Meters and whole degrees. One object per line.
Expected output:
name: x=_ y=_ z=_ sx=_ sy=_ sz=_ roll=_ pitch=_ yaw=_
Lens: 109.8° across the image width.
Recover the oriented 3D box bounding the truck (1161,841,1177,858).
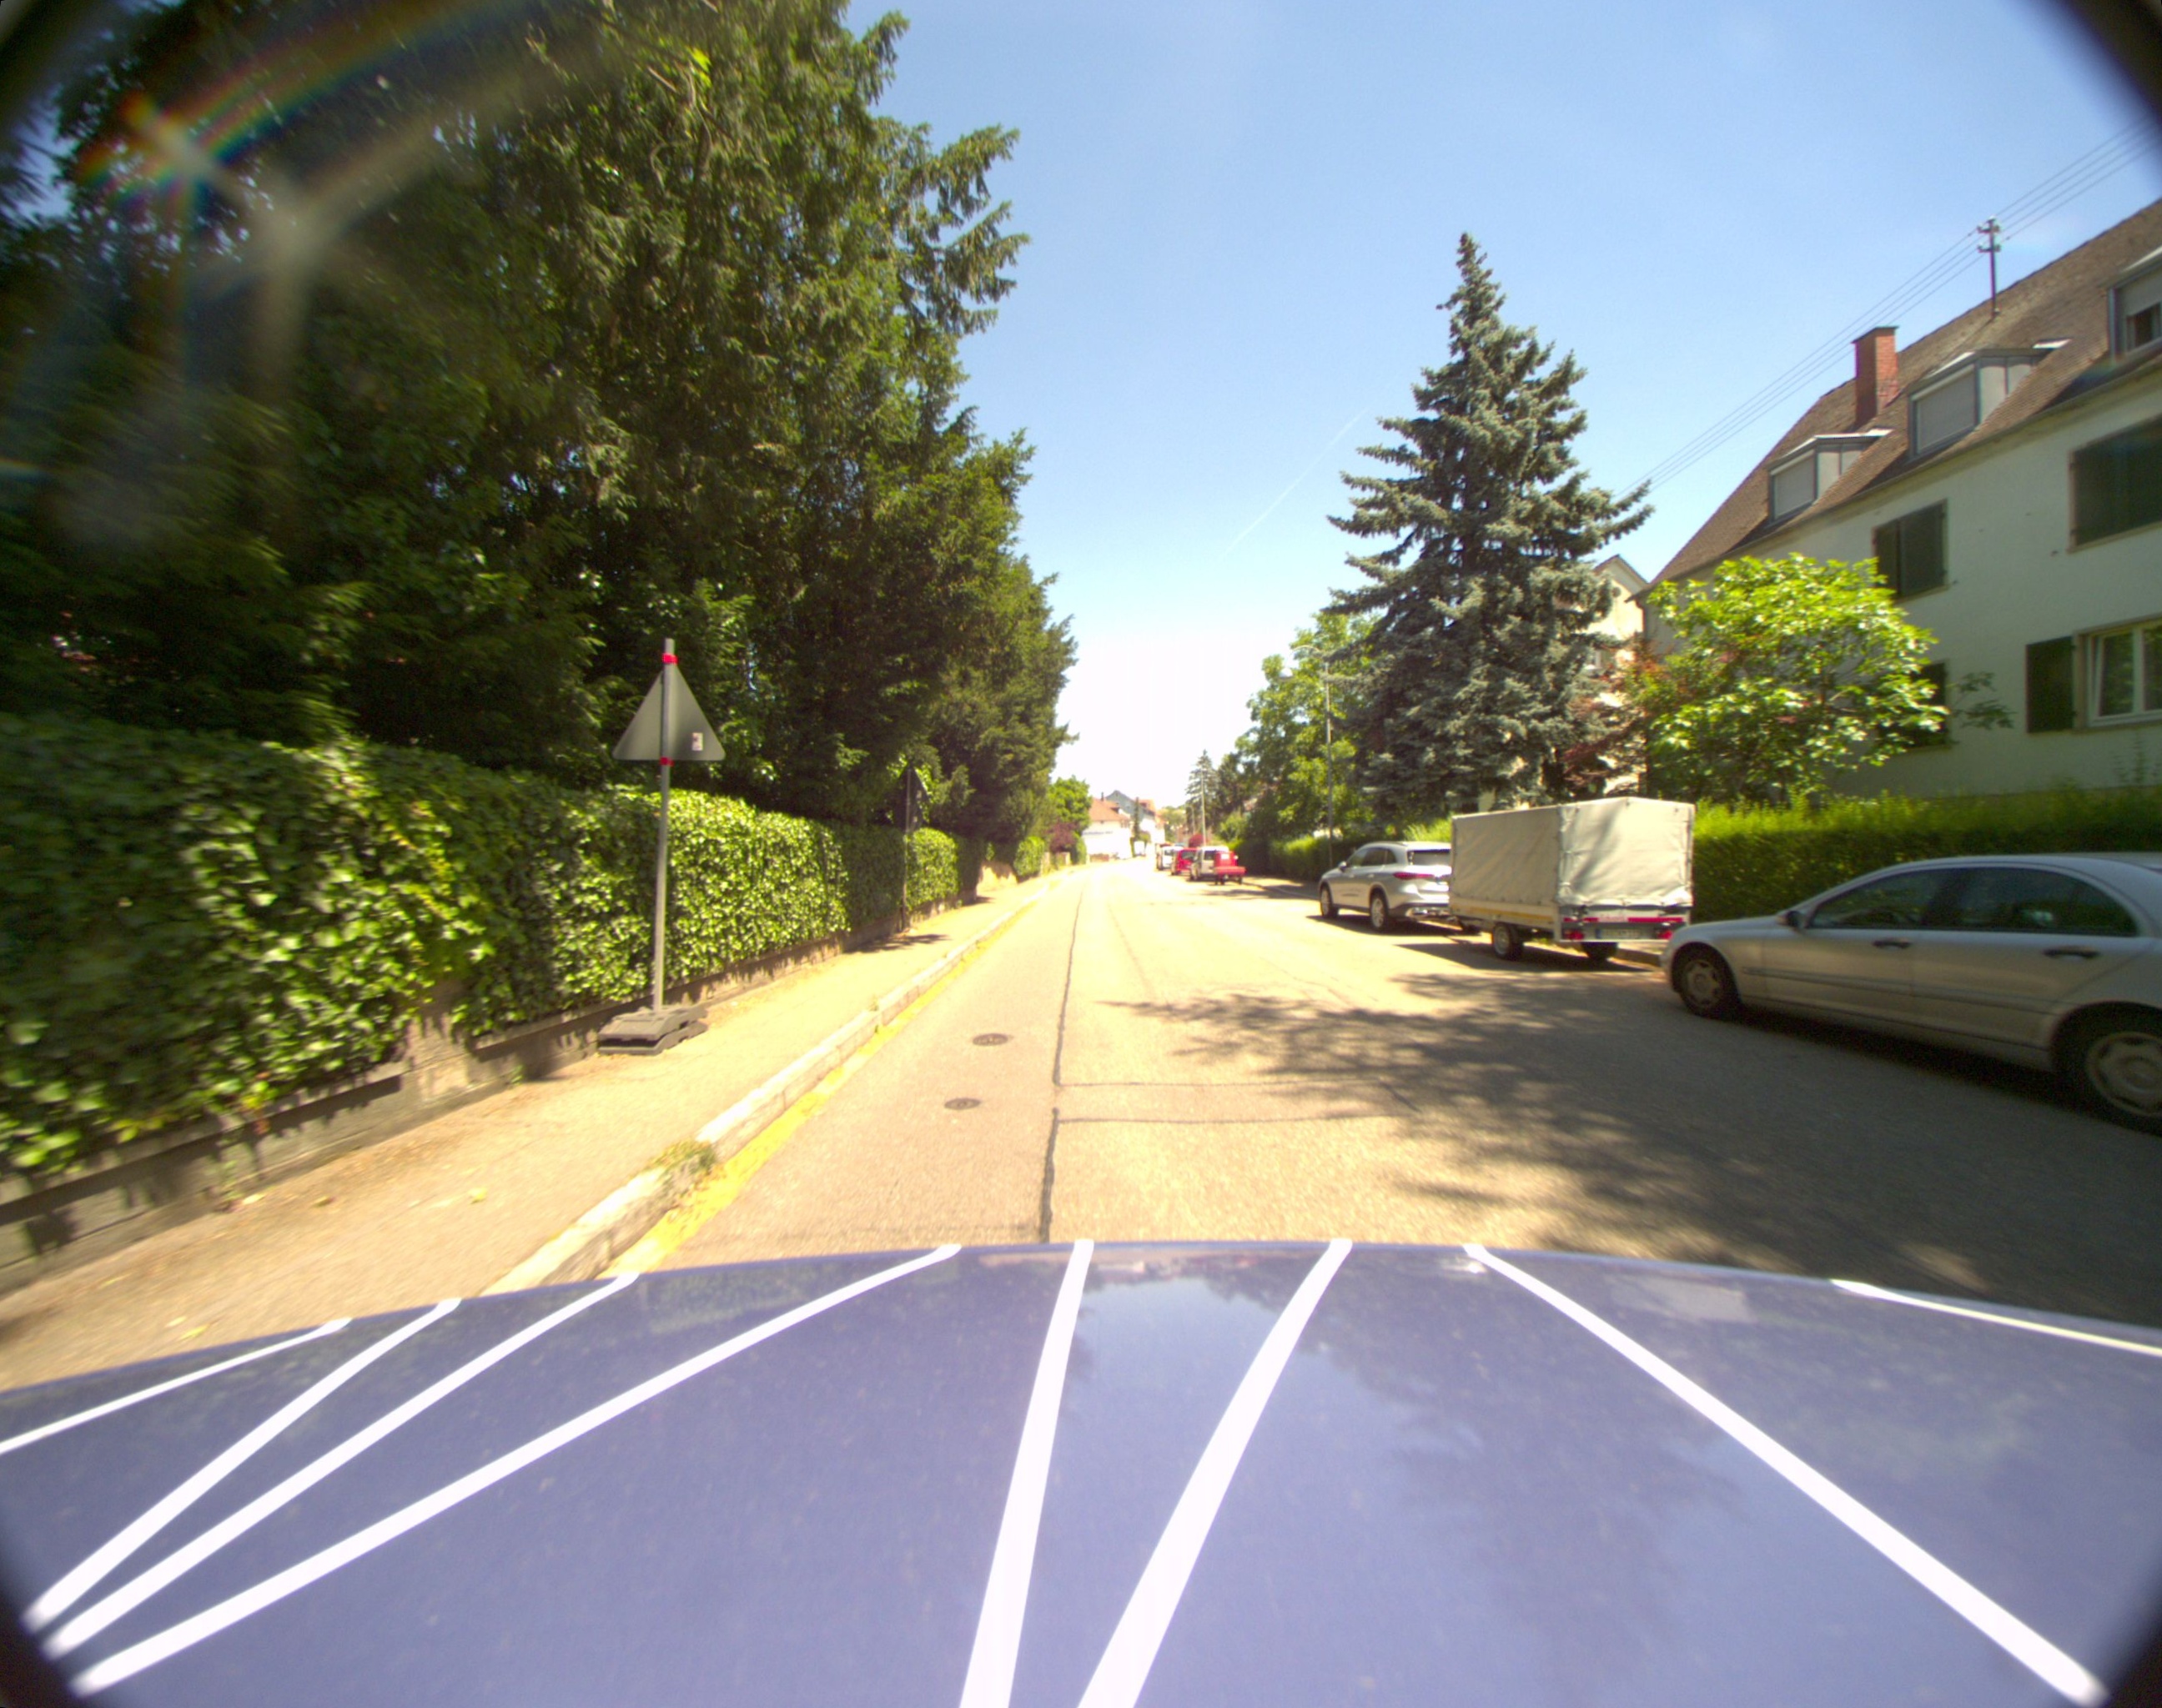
truck: x=15.751 y=-0.859 z=135.419 sx=2.225 sy=2.915 sz=6.729 roll=1 pitch=1 yaw=11

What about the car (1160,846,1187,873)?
car: x=7.566 y=0.411 z=62.489 sx=1.893 sy=2.103 sz=3.999 roll=1 pitch=1 yaw=2

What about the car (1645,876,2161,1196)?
car: x=6.132 y=0.932 z=4.817 sx=1.801 sy=1.434 sz=4.476 roll=0 pitch=0 yaw=1

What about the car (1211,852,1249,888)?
car: x=6.685 y=0.714 z=34.304 sx=1.308 sy=1.568 sz=2.321 roll=0 pitch=0 yaw=2

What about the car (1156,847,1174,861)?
car: x=10.037 y=0.017 z=90.806 sx=1.893 sy=1.628 sz=3.999 roll=1 pitch=0 yaw=2

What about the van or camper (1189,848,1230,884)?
van or camper: x=6.590 y=0.570 z=39.284 sx=1.583 sy=1.760 sz=3.889 roll=0 pitch=0 yaw=2

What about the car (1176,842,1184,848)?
car: x=28.434 y=-2.672 z=217.402 sx=1.891 sy=1.726 sz=4.003 roll=1 pitch=1 yaw=13

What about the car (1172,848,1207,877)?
car: x=6.958 y=0.518 z=49.077 sx=1.893 sy=1.749 sz=3.612 roll=1 pitch=1 yaw=2

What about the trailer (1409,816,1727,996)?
trailer: x=6.400 y=0.586 z=10.636 sx=1.819 sy=2.021 sz=3.999 roll=1 pitch=0 yaw=0

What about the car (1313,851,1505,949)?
car: x=6.155 y=0.764 z=14.935 sx=1.773 sy=1.609 sz=4.548 roll=1 pitch=0 yaw=0
